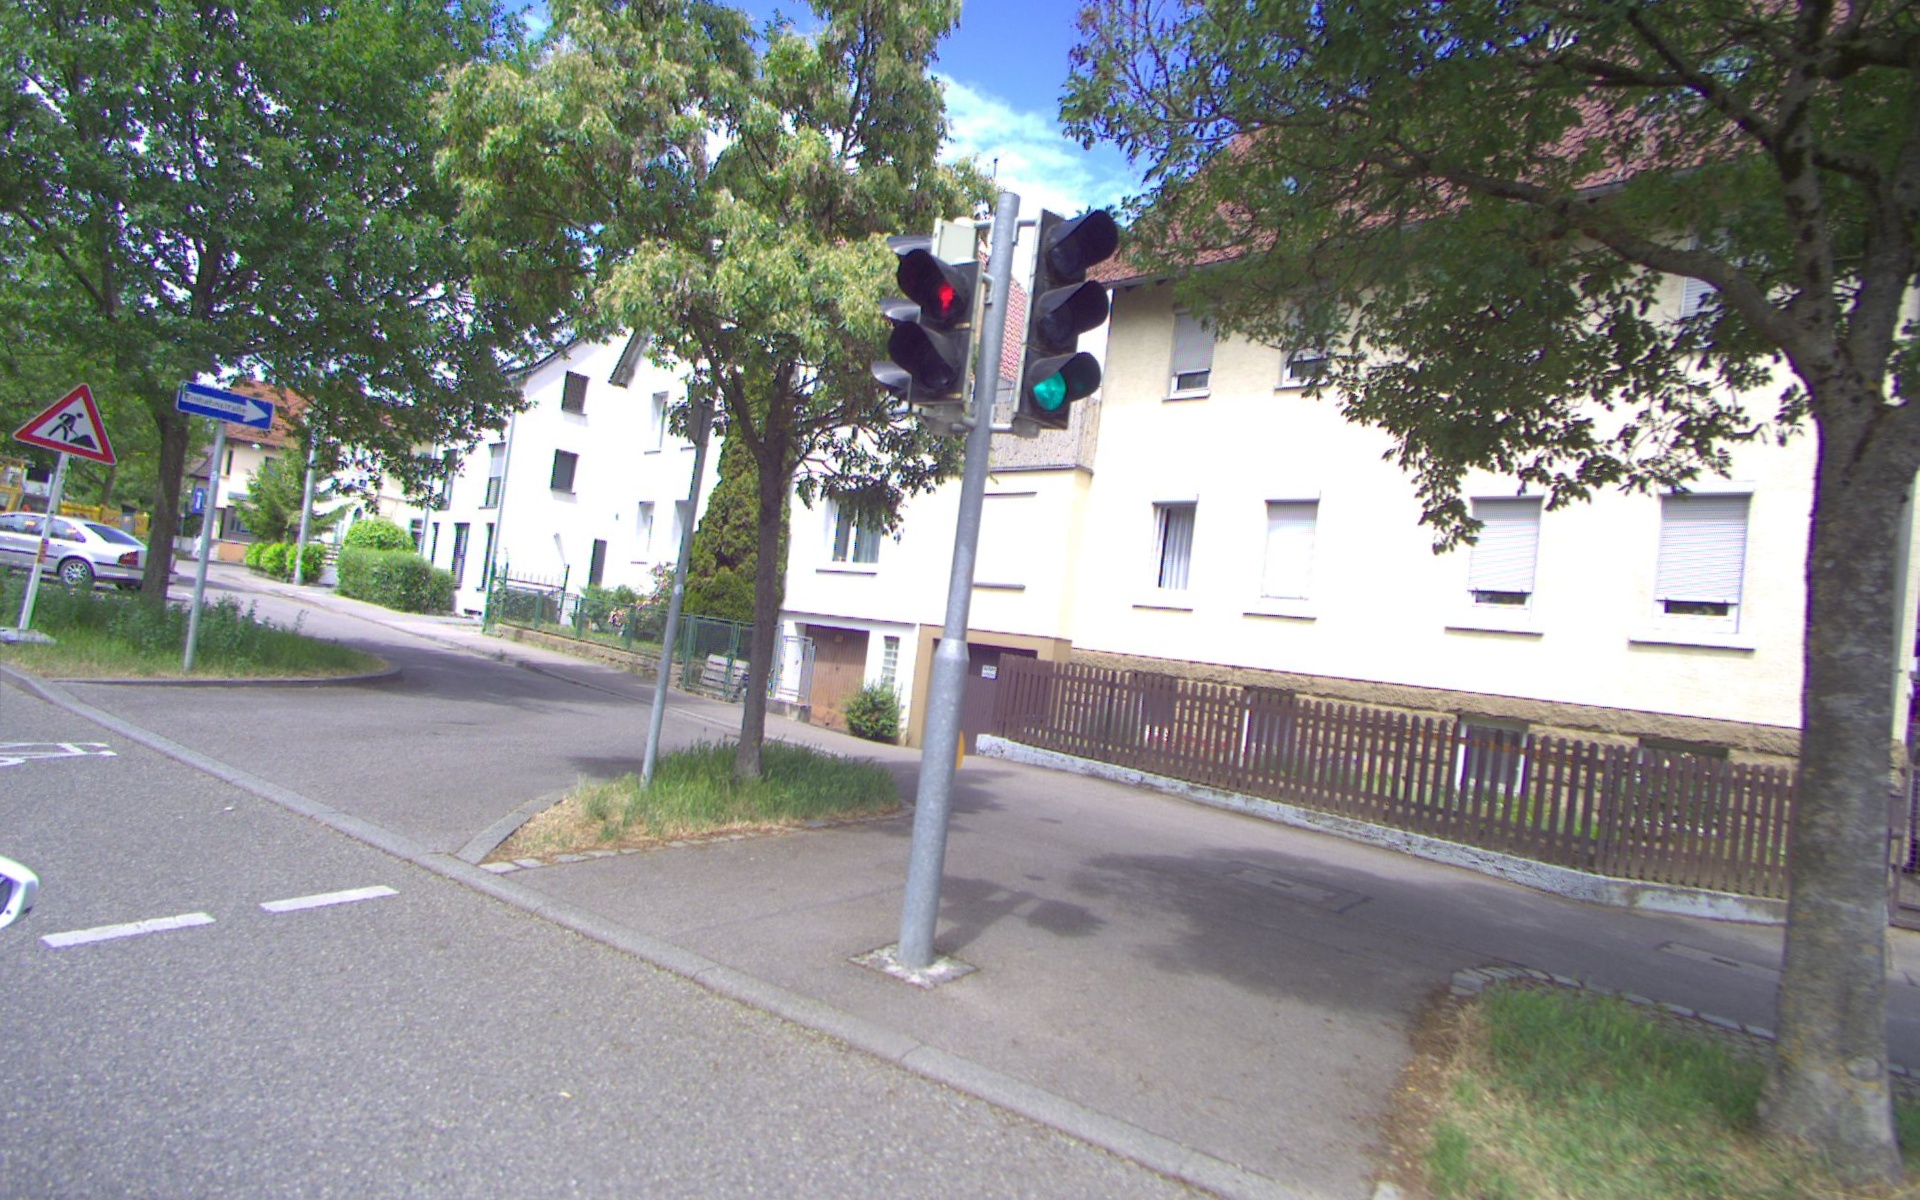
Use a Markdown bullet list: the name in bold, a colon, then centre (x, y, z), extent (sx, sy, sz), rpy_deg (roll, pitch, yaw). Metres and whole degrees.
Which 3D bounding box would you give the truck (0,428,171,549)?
- **truck**: centre (-31.460, -3.952, 34.018), extent (6.597, 3.038, 2.770), rpy_deg (9, -5, -10)

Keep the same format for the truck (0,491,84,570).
- **truck**: centre (-31.095, -2.494, 31.145), extent (5.581, 2.033, 2.002), rpy_deg (9, -5, -6)

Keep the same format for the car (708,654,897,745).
- **car**: centre (-3.008, 1.803, 18.671), extent (1.460, 1.135, 3.827), rpy_deg (13, -7, -42)

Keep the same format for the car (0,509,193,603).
- **car**: centre (-19.767, -1.066, 21.764), extent (4.610, 1.467, 1.768), rpy_deg (9, -3, -8)
